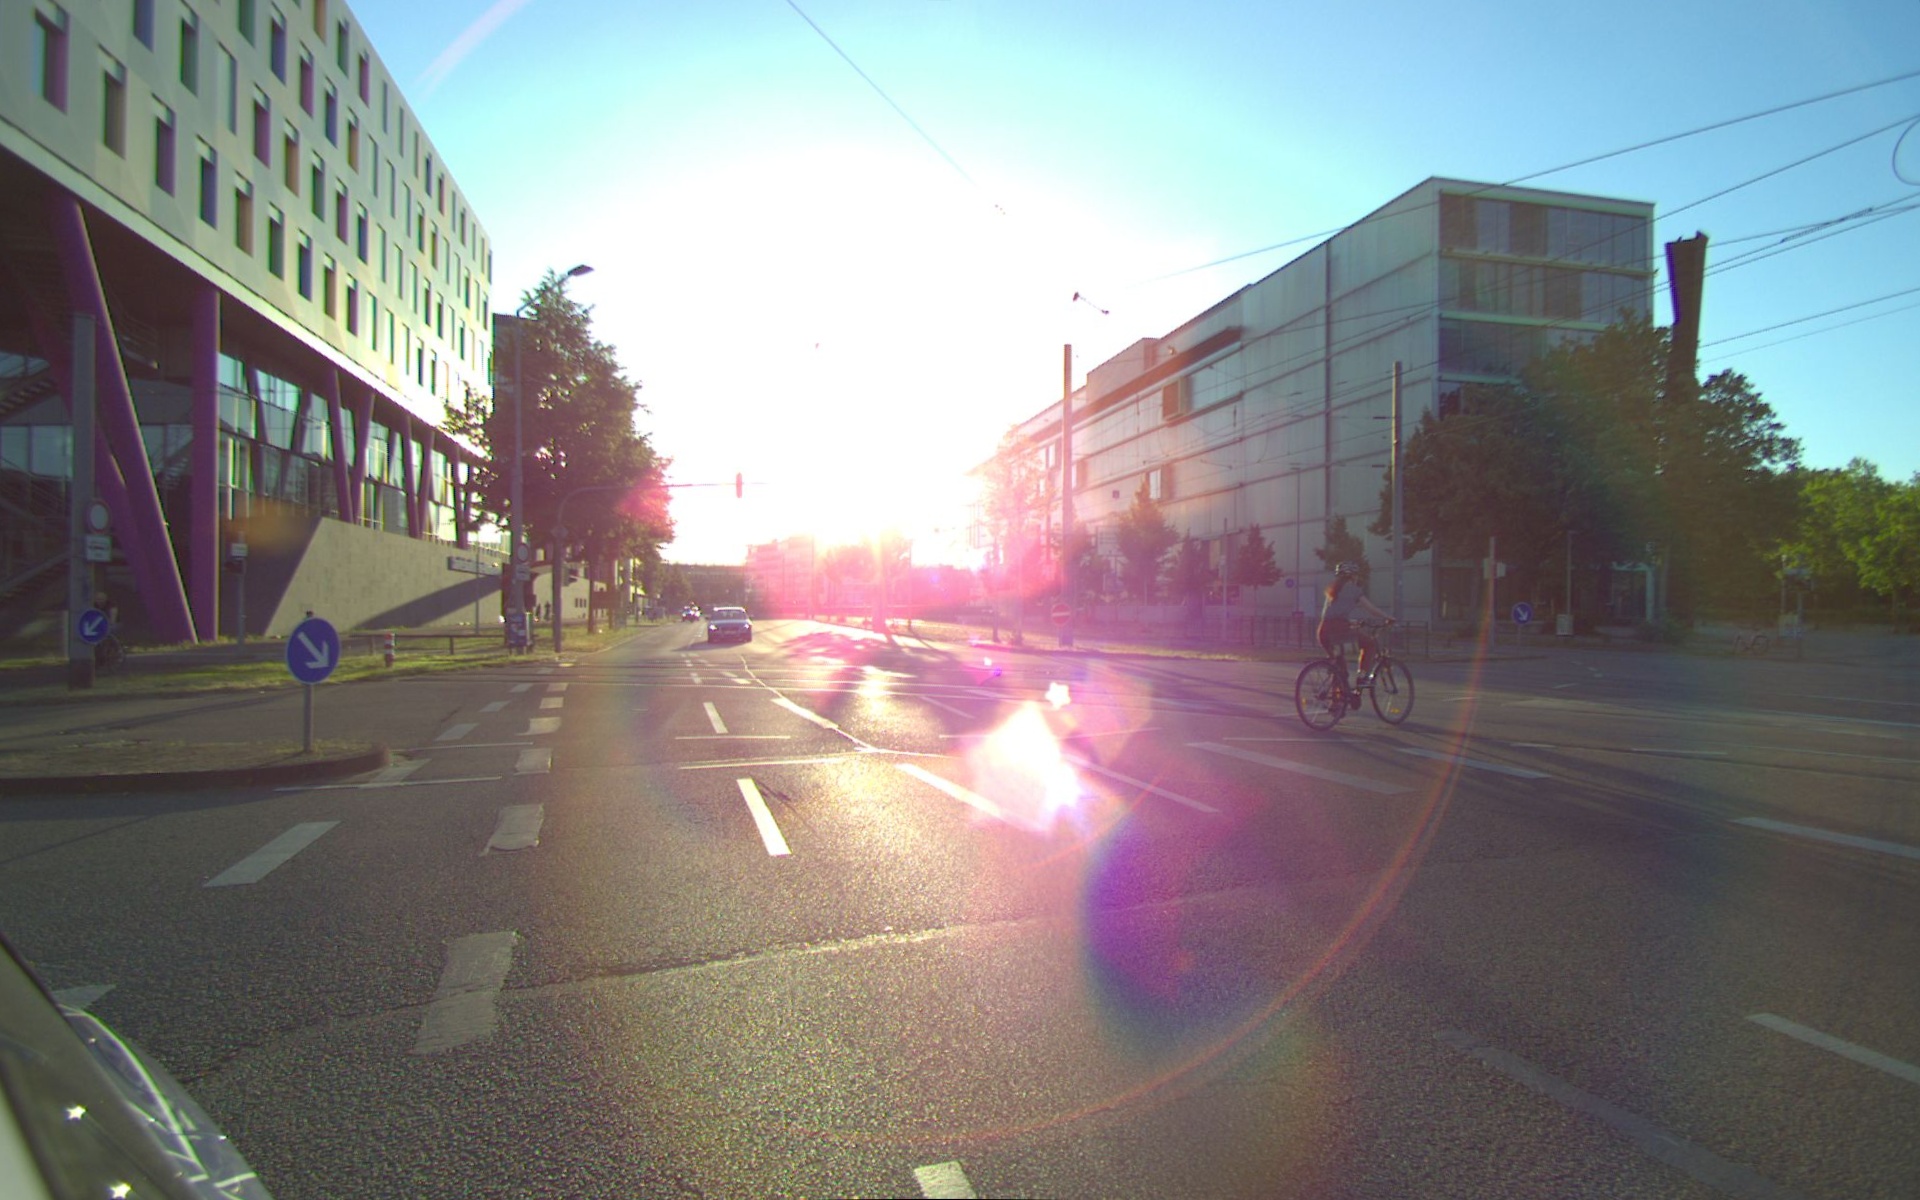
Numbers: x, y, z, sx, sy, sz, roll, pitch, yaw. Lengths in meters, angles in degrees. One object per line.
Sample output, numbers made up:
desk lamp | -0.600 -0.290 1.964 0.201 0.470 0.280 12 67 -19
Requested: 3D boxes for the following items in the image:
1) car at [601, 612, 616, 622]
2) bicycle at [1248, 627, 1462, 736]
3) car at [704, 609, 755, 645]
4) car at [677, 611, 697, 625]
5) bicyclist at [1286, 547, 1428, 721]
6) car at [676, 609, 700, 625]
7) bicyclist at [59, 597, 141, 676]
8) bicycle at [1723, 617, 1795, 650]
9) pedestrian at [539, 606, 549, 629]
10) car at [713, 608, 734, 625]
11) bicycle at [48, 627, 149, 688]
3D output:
car | -53.539 2.531 154.175 1.691 1.510 4.010 0 -1 -13
bicycle | 4.158 0.832 10.683 2.087 1.076 0.638 0 -1 -12
car | -9.563 1.097 42.087 1.967 1.431 4.010 0 -1 -13
car | -28.591 1.876 105.917 1.966 1.431 4.011 0 -1 -15
bicyclist | 4.167 0.347 10.701 0.979 1.731 1.037 0 -1 -12
car | -24.157 1.496 89.875 1.966 1.431 4.011 0 -1 -15
bicyclist | -18.501 0.760 21.804 0.794 1.645 1.291 0 -1 -11
bicycle | 28.076 1.173 35.558 2.352 1.144 0.703 0 -1 -15
pedestrian | -37.259 1.582 90.620 0.608 2.029 0.814 1 -1 -13
car | -24.230 1.660 103.703 1.966 1.719 4.011 0 -1 -15
bicycle | -18.499 1.197 21.794 0.731 1.216 2.115 0 -1 -12
